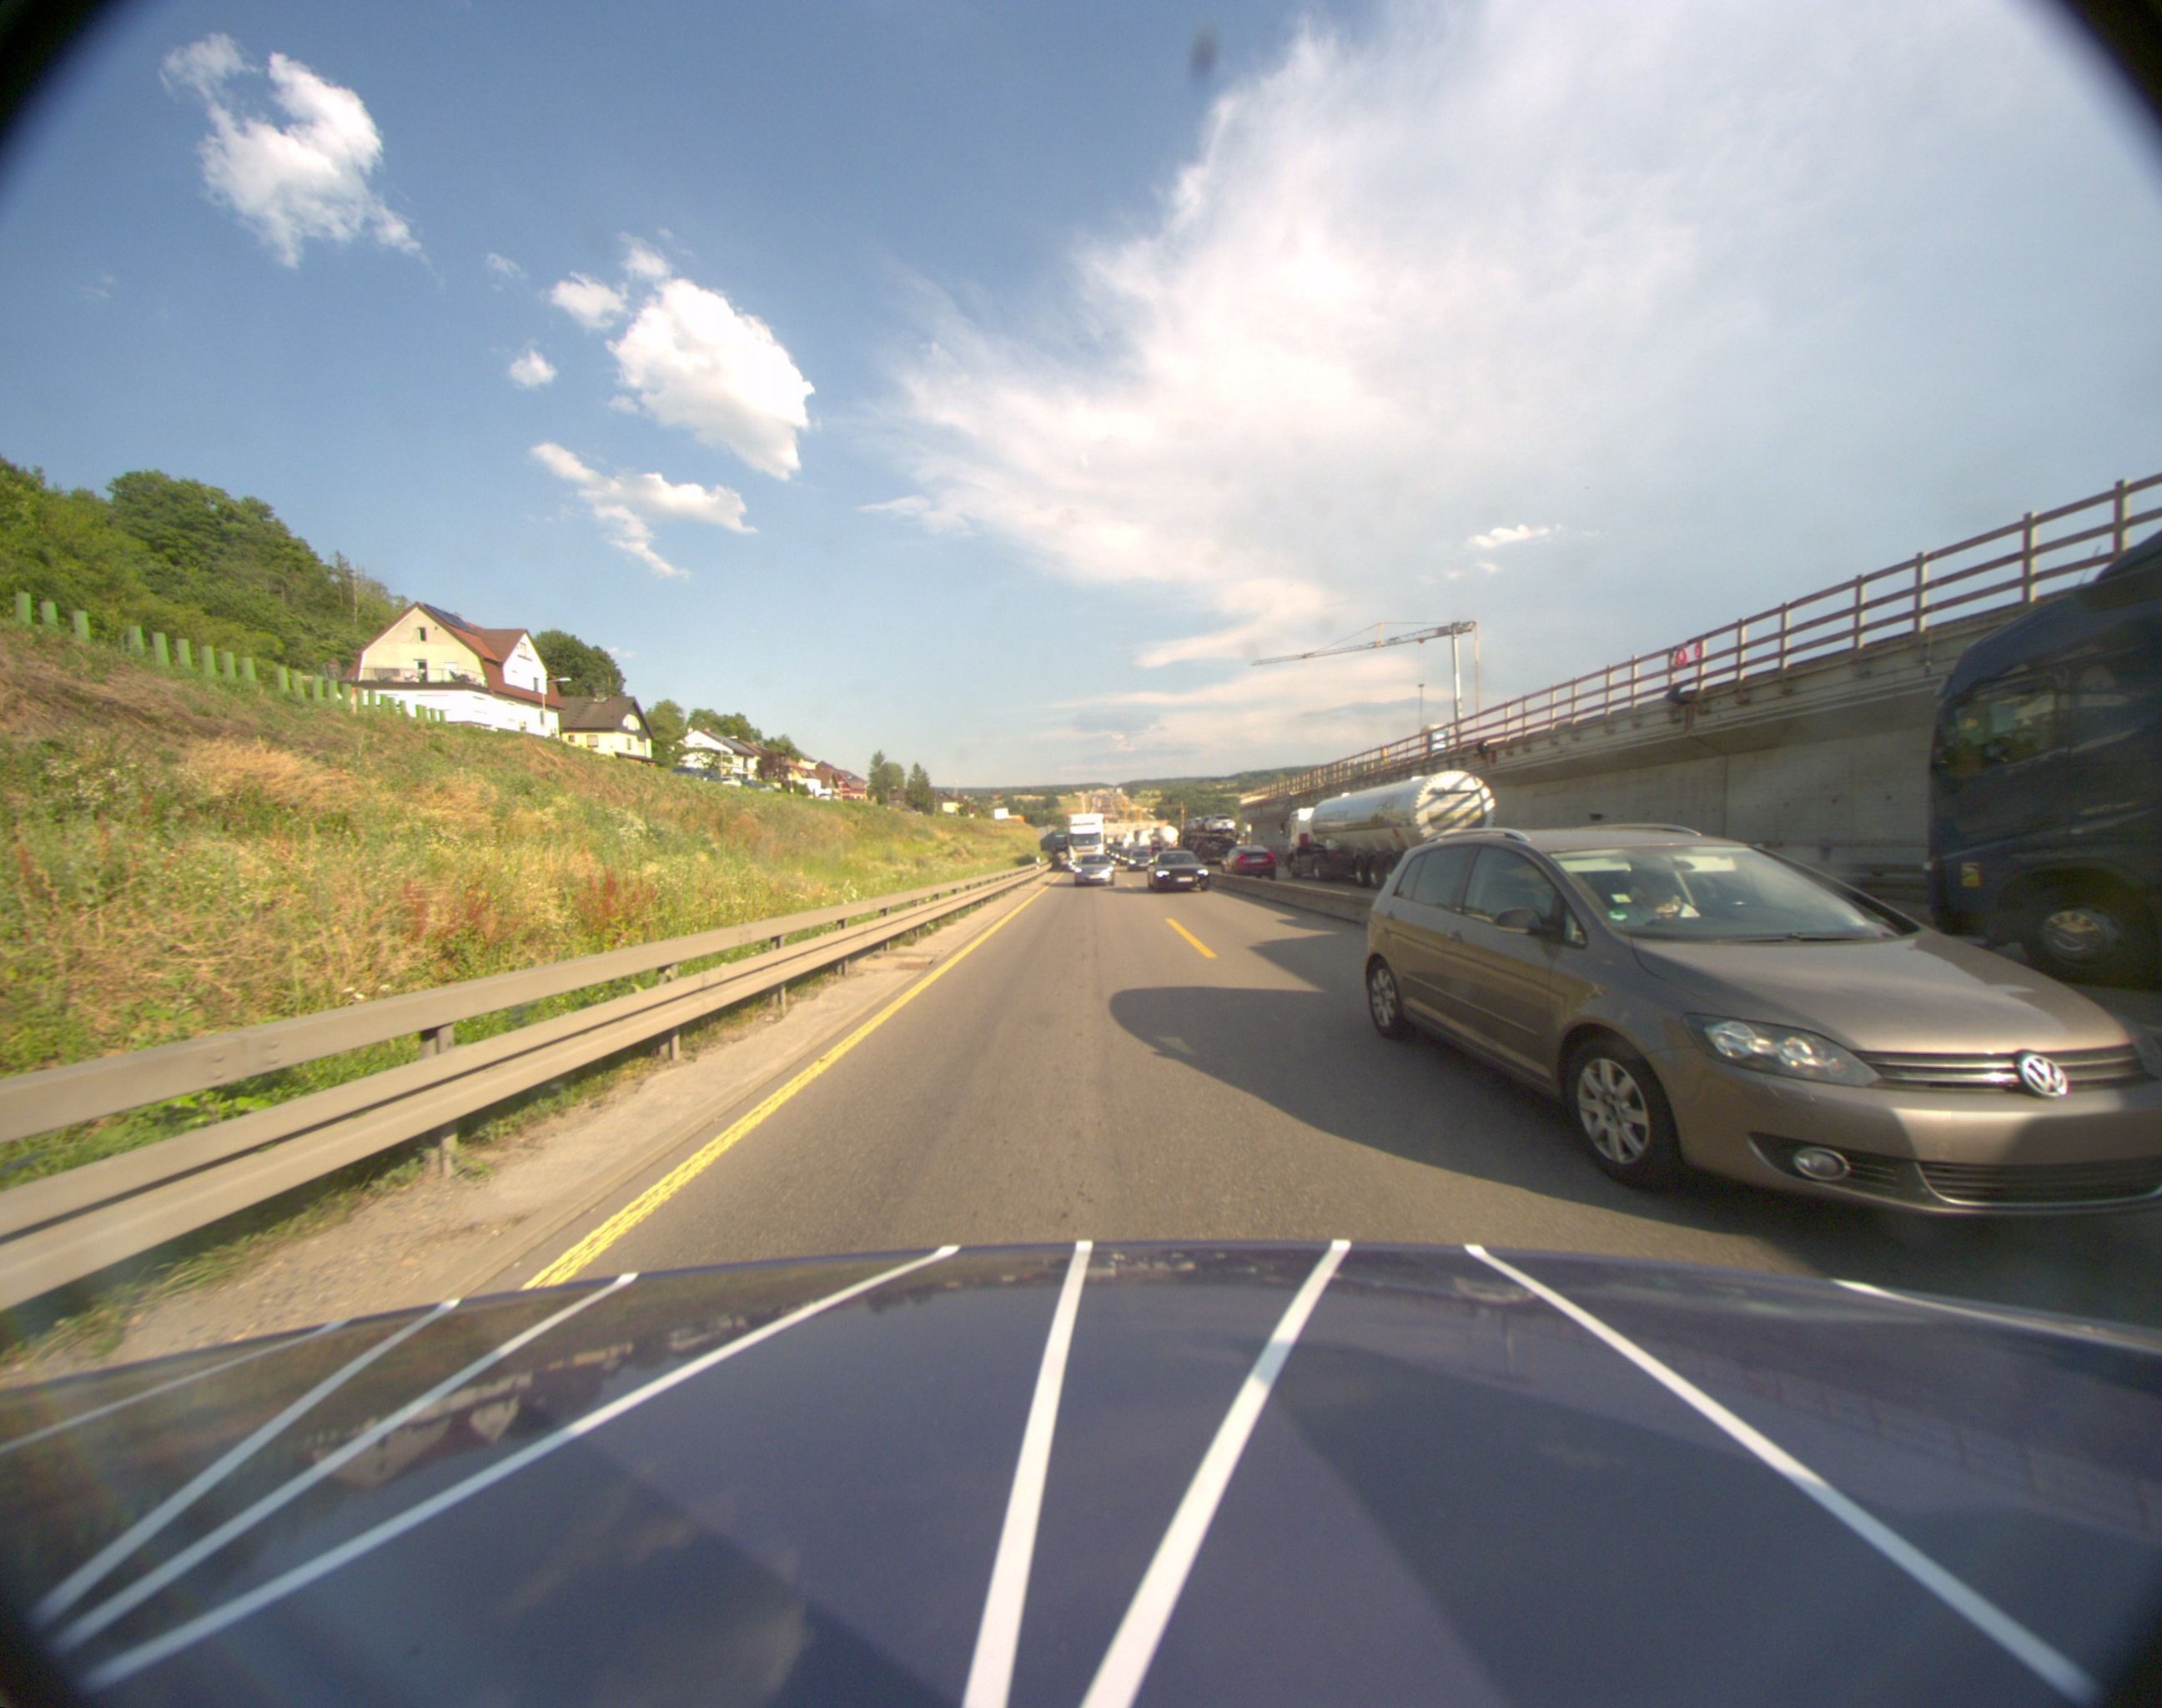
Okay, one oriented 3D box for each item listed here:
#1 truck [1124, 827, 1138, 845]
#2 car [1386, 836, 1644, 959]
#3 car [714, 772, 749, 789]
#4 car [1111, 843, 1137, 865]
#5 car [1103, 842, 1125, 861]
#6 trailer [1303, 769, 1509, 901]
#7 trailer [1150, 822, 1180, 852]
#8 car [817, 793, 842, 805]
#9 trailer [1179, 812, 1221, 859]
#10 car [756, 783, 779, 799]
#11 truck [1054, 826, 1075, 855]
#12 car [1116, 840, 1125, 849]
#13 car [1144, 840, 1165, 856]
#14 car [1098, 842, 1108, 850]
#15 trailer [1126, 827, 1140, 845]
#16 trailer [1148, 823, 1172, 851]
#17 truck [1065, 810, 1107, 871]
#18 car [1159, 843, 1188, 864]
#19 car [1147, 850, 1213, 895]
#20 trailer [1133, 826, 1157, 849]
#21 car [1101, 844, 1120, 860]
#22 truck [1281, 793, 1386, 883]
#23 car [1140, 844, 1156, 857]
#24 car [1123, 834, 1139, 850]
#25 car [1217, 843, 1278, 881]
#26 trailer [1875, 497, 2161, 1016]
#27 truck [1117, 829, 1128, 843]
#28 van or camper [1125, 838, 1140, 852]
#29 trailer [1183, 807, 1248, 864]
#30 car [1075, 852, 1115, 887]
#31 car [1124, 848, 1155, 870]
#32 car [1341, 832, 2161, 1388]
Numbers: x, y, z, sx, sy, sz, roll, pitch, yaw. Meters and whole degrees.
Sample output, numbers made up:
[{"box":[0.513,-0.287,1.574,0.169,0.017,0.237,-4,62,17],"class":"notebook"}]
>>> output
[{"box":[12.616,-4.501,191.221,2.834,4.239,10.070,-2,1,1],"class":"truck"},{"box":[6.907,0.550,12.779,1.645,1.635,4.687,-2,1,0],"class":"car"},{"box":[-31.700,-6.672,69.063,1.347,1.225,3.899,-2,1,-1],"class":"car"},{"box":[3.613,0.004,64.200,1.998,1.740,3.999,-1,1,0],"class":"car"},{"box":[3.166,-0.284,72.769,1.918,1.746,3.999,-1,0,0],"class":"car"},{"box":[10.424,-0.642,26.039,2.563,3.506,10.679,-2,1,1],"class":"trailer"},{"box":[11.431,-2.335,104.553,2.659,3.828,13.439,-2,1,0],"class":"trailer"},{"box":[-34.008,-7.426,102.762,1.999,1.434,3.999,-2,1,-1],"class":"car"},{"box":[10.912,-1.682,70.401,2.778,4.008,7.206,-2,1,1],"class":"trailer"},{"box":[-32.862,-6.569,79.667,1.451,1.364,3.554,-2,1,-9],"class":"car"},{"box":[-2.391,-2.015,111.359,2.547,3.993,6.070,-2,1,1],"class":"truck"},{"box":[8.468,-2.081,162.655,1.785,1.833,4.852,-2,1,1],"class":"car"},{"box":[7.679,-0.654,79.369,1.761,1.569,4.338,-2,1,1],"class":"car"},{"box":[4.804,-1.722,163.843,1.998,1.696,3.999,-2,1,0],"class":"car"},{"box":[12.462,-4.292,181.810,2.834,4.259,8.733,-2,1,1],"class":"trailer"},{"box":[11.487,-2.477,110.817,2.659,3.829,6.427,-2,1,0],"class":"trailer"},{"box":[0.480,-1.073,58.569,2.741,4.034,12.668,-2,1,1],"class":"truck"},{"box":[7.341,-0.060,60.448,1.770,1.543,4.835,-2,1,1],"class":"car"},{"box":[3.496,0.611,27.606,1.873,1.411,4.348,-1,1,1],"class":"car"},{"box":[12.061,-3.170,144.074,2.933,4.014,13.769,-2,1,-1],"class":"trailer"},{"box":[3.341,-0.198,85.937,1.918,1.746,3.999,-1,0,0],"class":"car"},{"box":[10.522,-0.676,32.187,2.555,3.390,5.530,-2,1,0],"class":"truck"},{"box":[8.418,-0.480,96.053,1.713,1.437,4.599,-2,1,1],"class":"car"},{"box":[8.637,-2.140,132.916,1.999,2.608,7.407,-2,1,-2],"class":"car"},{"box":[7.316,0.316,33.800,1.730,1.548,4.297,-2,0,0],"class":"car"},{"box":[9.965,-0.811,5.204,2.771,4.117,5.976,-2,0,1],"class":"trailer"},{"box":[12.842,-5.561,233.518,2.873,4.038,7.597,-2,1,1],"class":"truck"},{"box":[7.961,-1.472,118.006,1.863,2.002,5.294,-2,1,0],"class":"van or camper"},{"box":[10.788,-1.510,62.939,2.778,4.008,15.760,-2,1,1],"class":"trailer"},{"box":[0.629,0.648,34.589,1.671,1.425,3.523,-1,1,1],"class":"car"},{"box":[3.932,0.307,51.269,1.692,1.294,3.882,-2,1,-1],"class":"car"},{"box":[3.033,0.744,4.298,1.685,1.579,4.272,0,0,0],"class":"car"}]
